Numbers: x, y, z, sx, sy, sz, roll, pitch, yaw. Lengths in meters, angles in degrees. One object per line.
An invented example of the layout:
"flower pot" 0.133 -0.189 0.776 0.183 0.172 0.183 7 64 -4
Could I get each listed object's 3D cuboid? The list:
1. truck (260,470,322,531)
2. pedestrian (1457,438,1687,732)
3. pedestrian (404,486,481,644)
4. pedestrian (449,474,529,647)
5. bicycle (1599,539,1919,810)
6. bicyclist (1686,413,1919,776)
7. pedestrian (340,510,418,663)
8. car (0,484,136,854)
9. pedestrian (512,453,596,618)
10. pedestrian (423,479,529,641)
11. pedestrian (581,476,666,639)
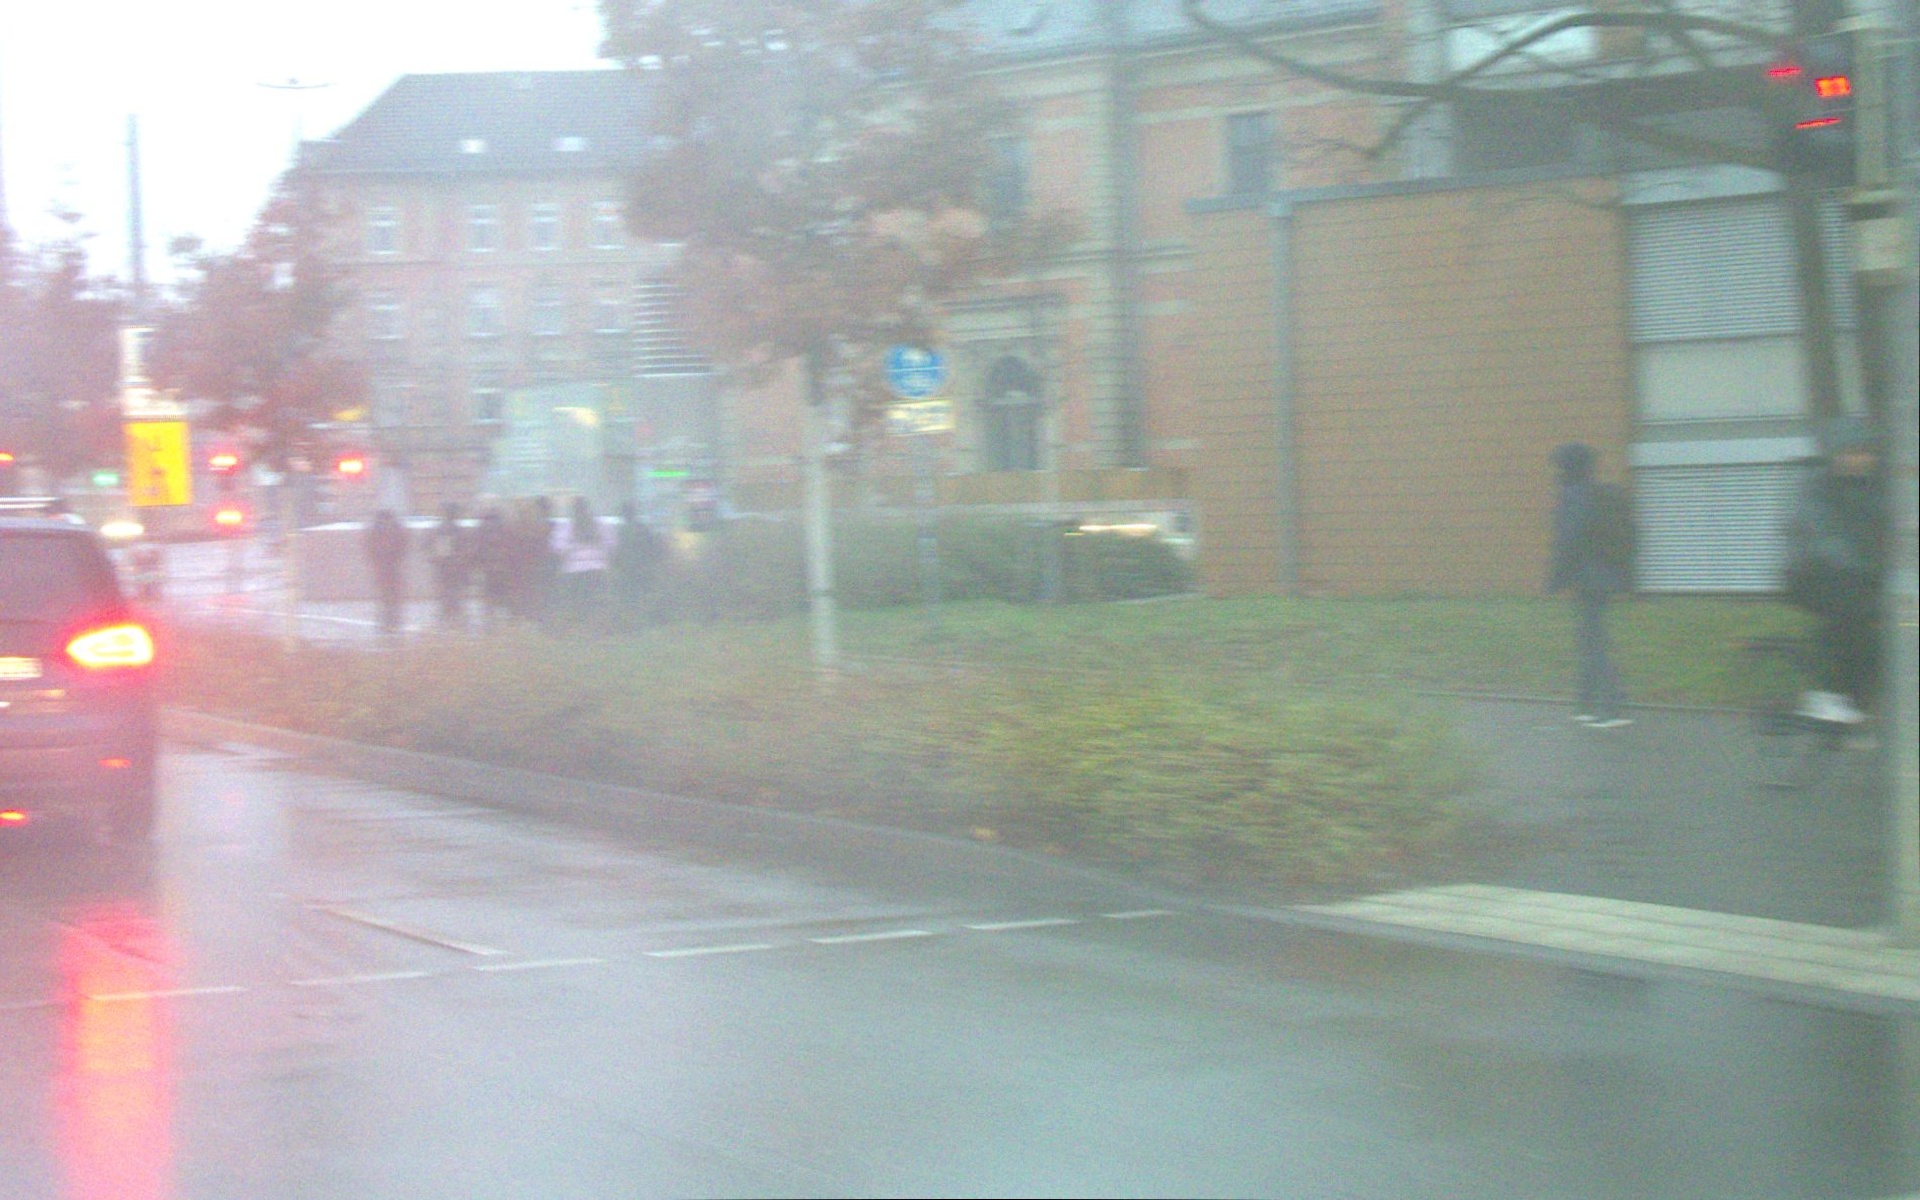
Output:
"truck" -30.886 -4.595 158.870 1.993 2.682 5.116 -2 2 -2
"pedestrian" 3.678 -0.100 20.707 0.807 1.682 1.070 -4 2 -26
"pedestrian" -6.686 -0.459 44.414 0.807 2.006 0.760 0 4 5
"pedestrian" -4.956 -0.418 36.182 0.583 1.775 0.769 -3 1 5
"bicycle" 4.112 0.313 16.447 0.804 1.137 2.214 -6 4 -28
"bicyclist" 4.160 -0.048 16.305 0.804 1.612 1.086 -6 4 -28
"pedestrian" -7.493 -0.179 44.332 0.807 1.923 0.760 0 4 5
"car" -5.585 0.283 18.718 1.777 1.794 4.426 -1 2 -18
"pedestrian" -4.271 -0.683 36.184 0.667 1.681 0.612 -3 3 5
"pedestrian" -5.460 -0.457 38.823 0.851 1.785 0.748 -3 2 -44
"pedestrian" -3.539 -0.455 36.203 0.718 1.682 0.760 -2 1 4
